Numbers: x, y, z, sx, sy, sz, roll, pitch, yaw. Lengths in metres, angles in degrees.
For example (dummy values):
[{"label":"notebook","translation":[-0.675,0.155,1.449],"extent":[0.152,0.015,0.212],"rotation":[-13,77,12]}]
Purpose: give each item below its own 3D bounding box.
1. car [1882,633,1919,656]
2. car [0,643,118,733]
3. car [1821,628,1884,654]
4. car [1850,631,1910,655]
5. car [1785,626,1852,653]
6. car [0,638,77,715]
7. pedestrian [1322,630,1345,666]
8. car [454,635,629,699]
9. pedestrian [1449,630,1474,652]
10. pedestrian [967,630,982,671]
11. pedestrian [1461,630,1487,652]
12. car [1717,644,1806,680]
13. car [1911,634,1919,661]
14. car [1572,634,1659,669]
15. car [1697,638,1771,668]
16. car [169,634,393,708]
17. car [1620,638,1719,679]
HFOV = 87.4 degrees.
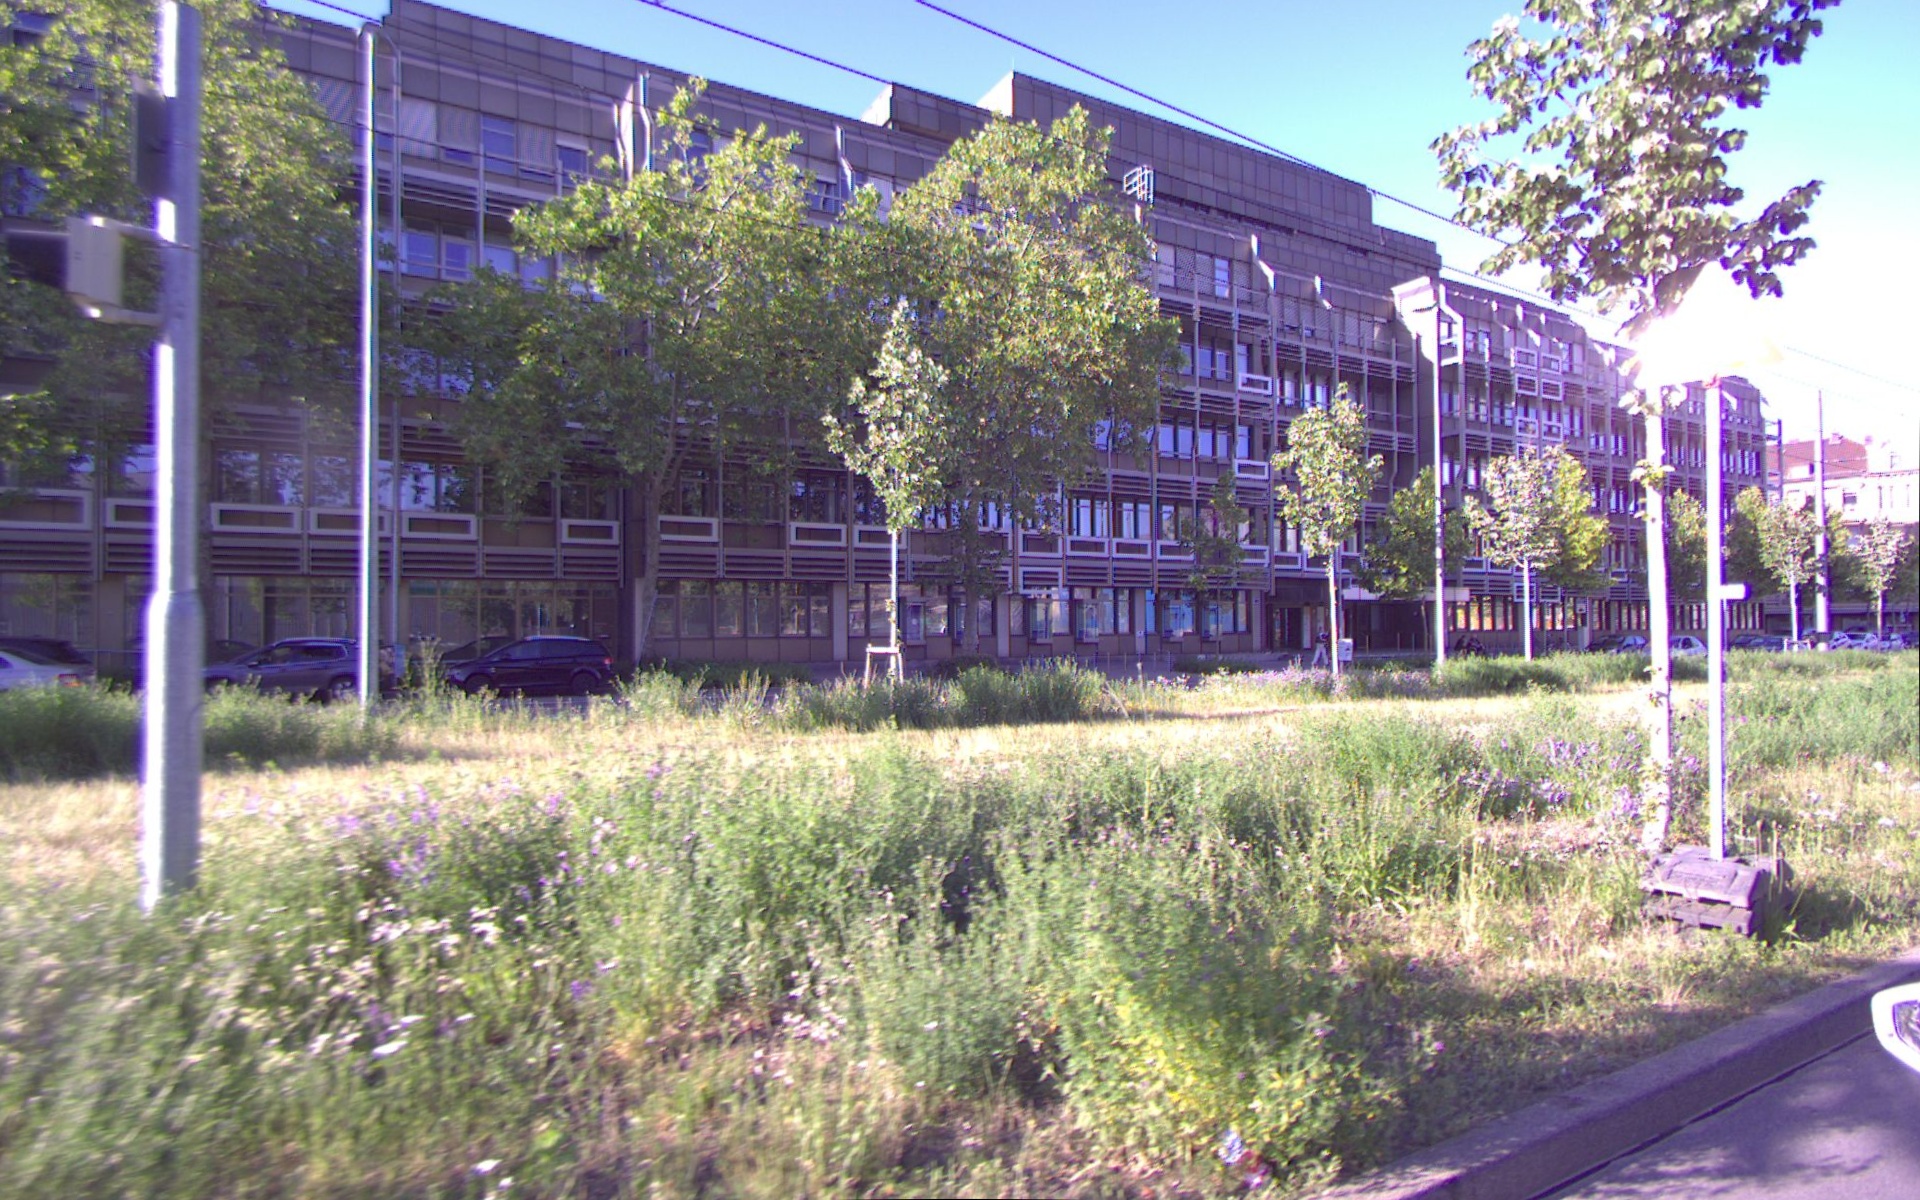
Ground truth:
[{"label":"car","translation":[68.336,3.188,72.222],"extent":[4.252,1.596,1.894],"rotation":[1,-2,-32]},{"label":"car","translation":[-17.890,1.539,17.589],"extent":[4.527,1.535,1.751],"rotation":[1,-3,-29]},{"label":"car","translation":[57.383,2.641,64.576],"extent":[4.252,1.596,1.894],"rotation":[1,-2,-32]},{"label":"car","translation":[62.185,2.879,67.874],"extent":[4.252,1.596,1.894],"rotation":[1,-2,-32]},{"label":"car","translation":[52.522,2.386,61.411],"extent":[4.252,1.596,1.894],"rotation":[1,-2,-32]},{"label":"car","translation":[-21.874,1.612,21.193],"extent":[4.570,1.578,1.735],"rotation":[1,-1,-31]},{"label":"pedestrian","translation":[16.359,2.103,43.987],"extent":[0.642,1.552,0.660],"rotation":[1,-2,-33]},{"label":"car","translation":[-11.338,1.769,27.252],"extent":[4.225,1.617,1.853],"rotation":[1,-3,-29]},{"label":"pedestrian","translation":[26.810,2.201,53.693],"extent":[0.856,1.184,0.895],"rotation":[1,-2,-31]},{"label":"pedestrian","translation":[0.563,1.962,39.109],"extent":[0.441,1.582,0.407],"rotation":[1,-2,-29]},{"label":"pedestrian","translation":[27.763,2.205,54.248],"extent":[0.888,1.184,0.896],"rotation":[1,-2,-30]},{"label":"car","translation":[37.618,2.868,47.121],"extent":[4.360,1.596,1.894],"rotation":[1,-2,-32]},{"label":"car","translation":[58.703,2.793,59.842],"extent":[4.252,1.596,1.894],"rotation":[1,-2,-32]},{"label":"car","translation":[31.653,2.438,48.471],"extent":[4.252,1.596,1.894],"rotation":[1,-2,-32]},{"label":"car","translation":[43.444,2.961,56.394],"extent":[4.252,1.596,1.894],"rotation":[1,-2,-32]},{"label":"car","translation":[-16.419,1.705,24.617],"extent":[4.306,1.653,1.904],"rotation":[1,-4,-28]},{"label":"car","translation":[29.072,2.357,41.154],"extent":[3.955,1.596,1.894],"rotation":[1,-2,-32]}]
